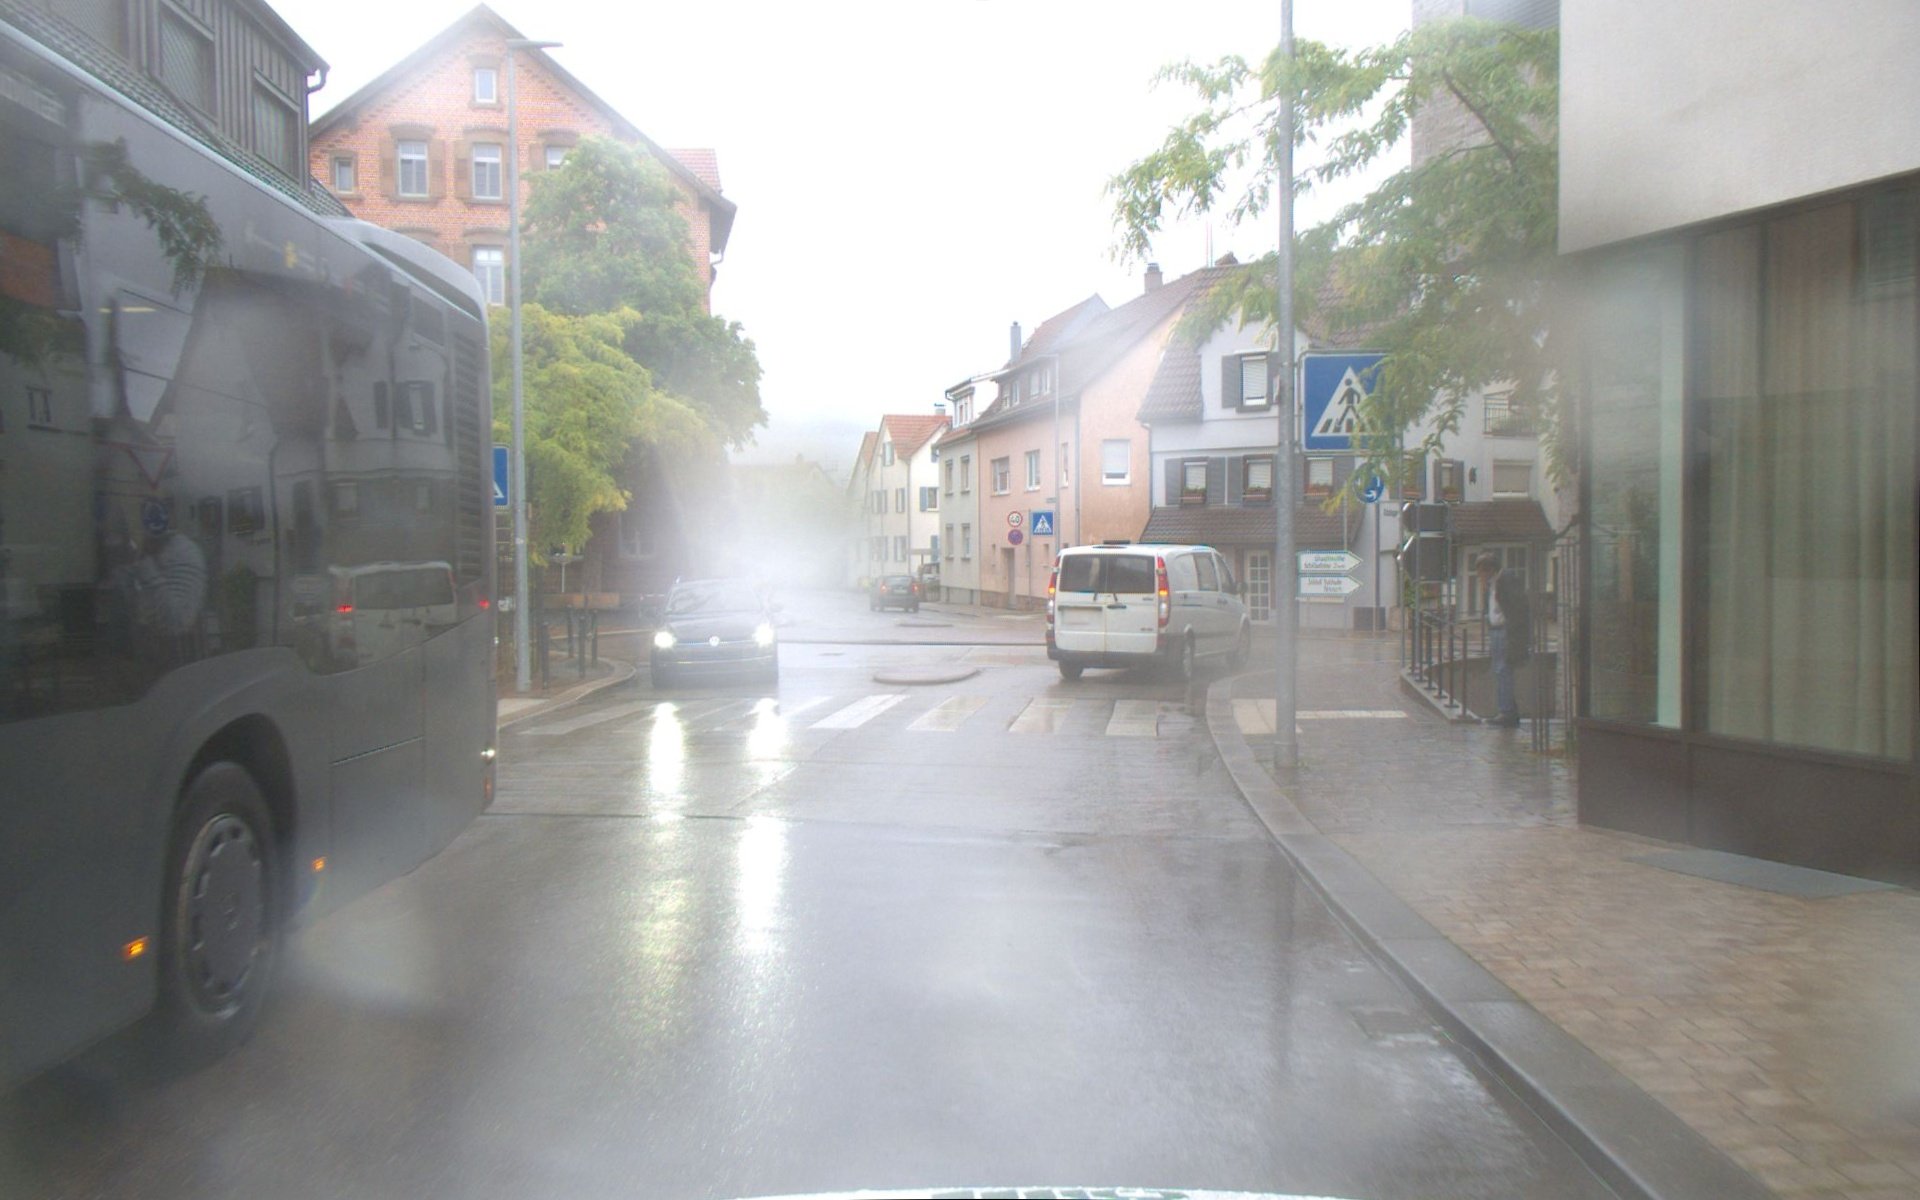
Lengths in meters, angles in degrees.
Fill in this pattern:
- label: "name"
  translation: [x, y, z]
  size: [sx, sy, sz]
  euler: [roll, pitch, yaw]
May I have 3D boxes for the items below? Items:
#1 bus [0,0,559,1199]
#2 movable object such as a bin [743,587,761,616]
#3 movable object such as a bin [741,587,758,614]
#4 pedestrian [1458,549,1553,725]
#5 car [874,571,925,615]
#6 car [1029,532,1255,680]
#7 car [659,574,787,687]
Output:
- label: "bus"
  translation: [-3.330, -0.067, 3.133]
  size: [2.668, 3.133, 10.944]
  euler: [0, 1, -1]
- label: "movable object such as a bin"
  translation: [-8.784, 0.055, 69.827]
  size: [0.616, 1.193, 0.759]
  euler: [1, 0, -15]
- label: "movable object such as a bin"
  translation: [-9.561, 0.013, 75.009]
  size: [0.643, 1.189, 0.779]
  euler: [1, 0, -15]
- label: "pedestrian"
  translation: [5.231, 0.343, 15.891]
  size: [0.571, 1.634, 0.702]
  euler: [-2, 0, -9]
- label: "car"
  translation: [-2.425, -0.263, 65.719]
  size: [1.933, 1.709, 4.065]
  euler: [0, 0, -3]
- label: "car"
  translation: [2.797, 0.090, 24.259]
  size: [2.108, 1.932, 4.925]
  euler: [0, 0, 21]
- label: "car"
  translation: [-3.368, 0.361, 24.139]
  size: [1.633, 1.455, 4.464]
  euler: [0, 1, -5]
